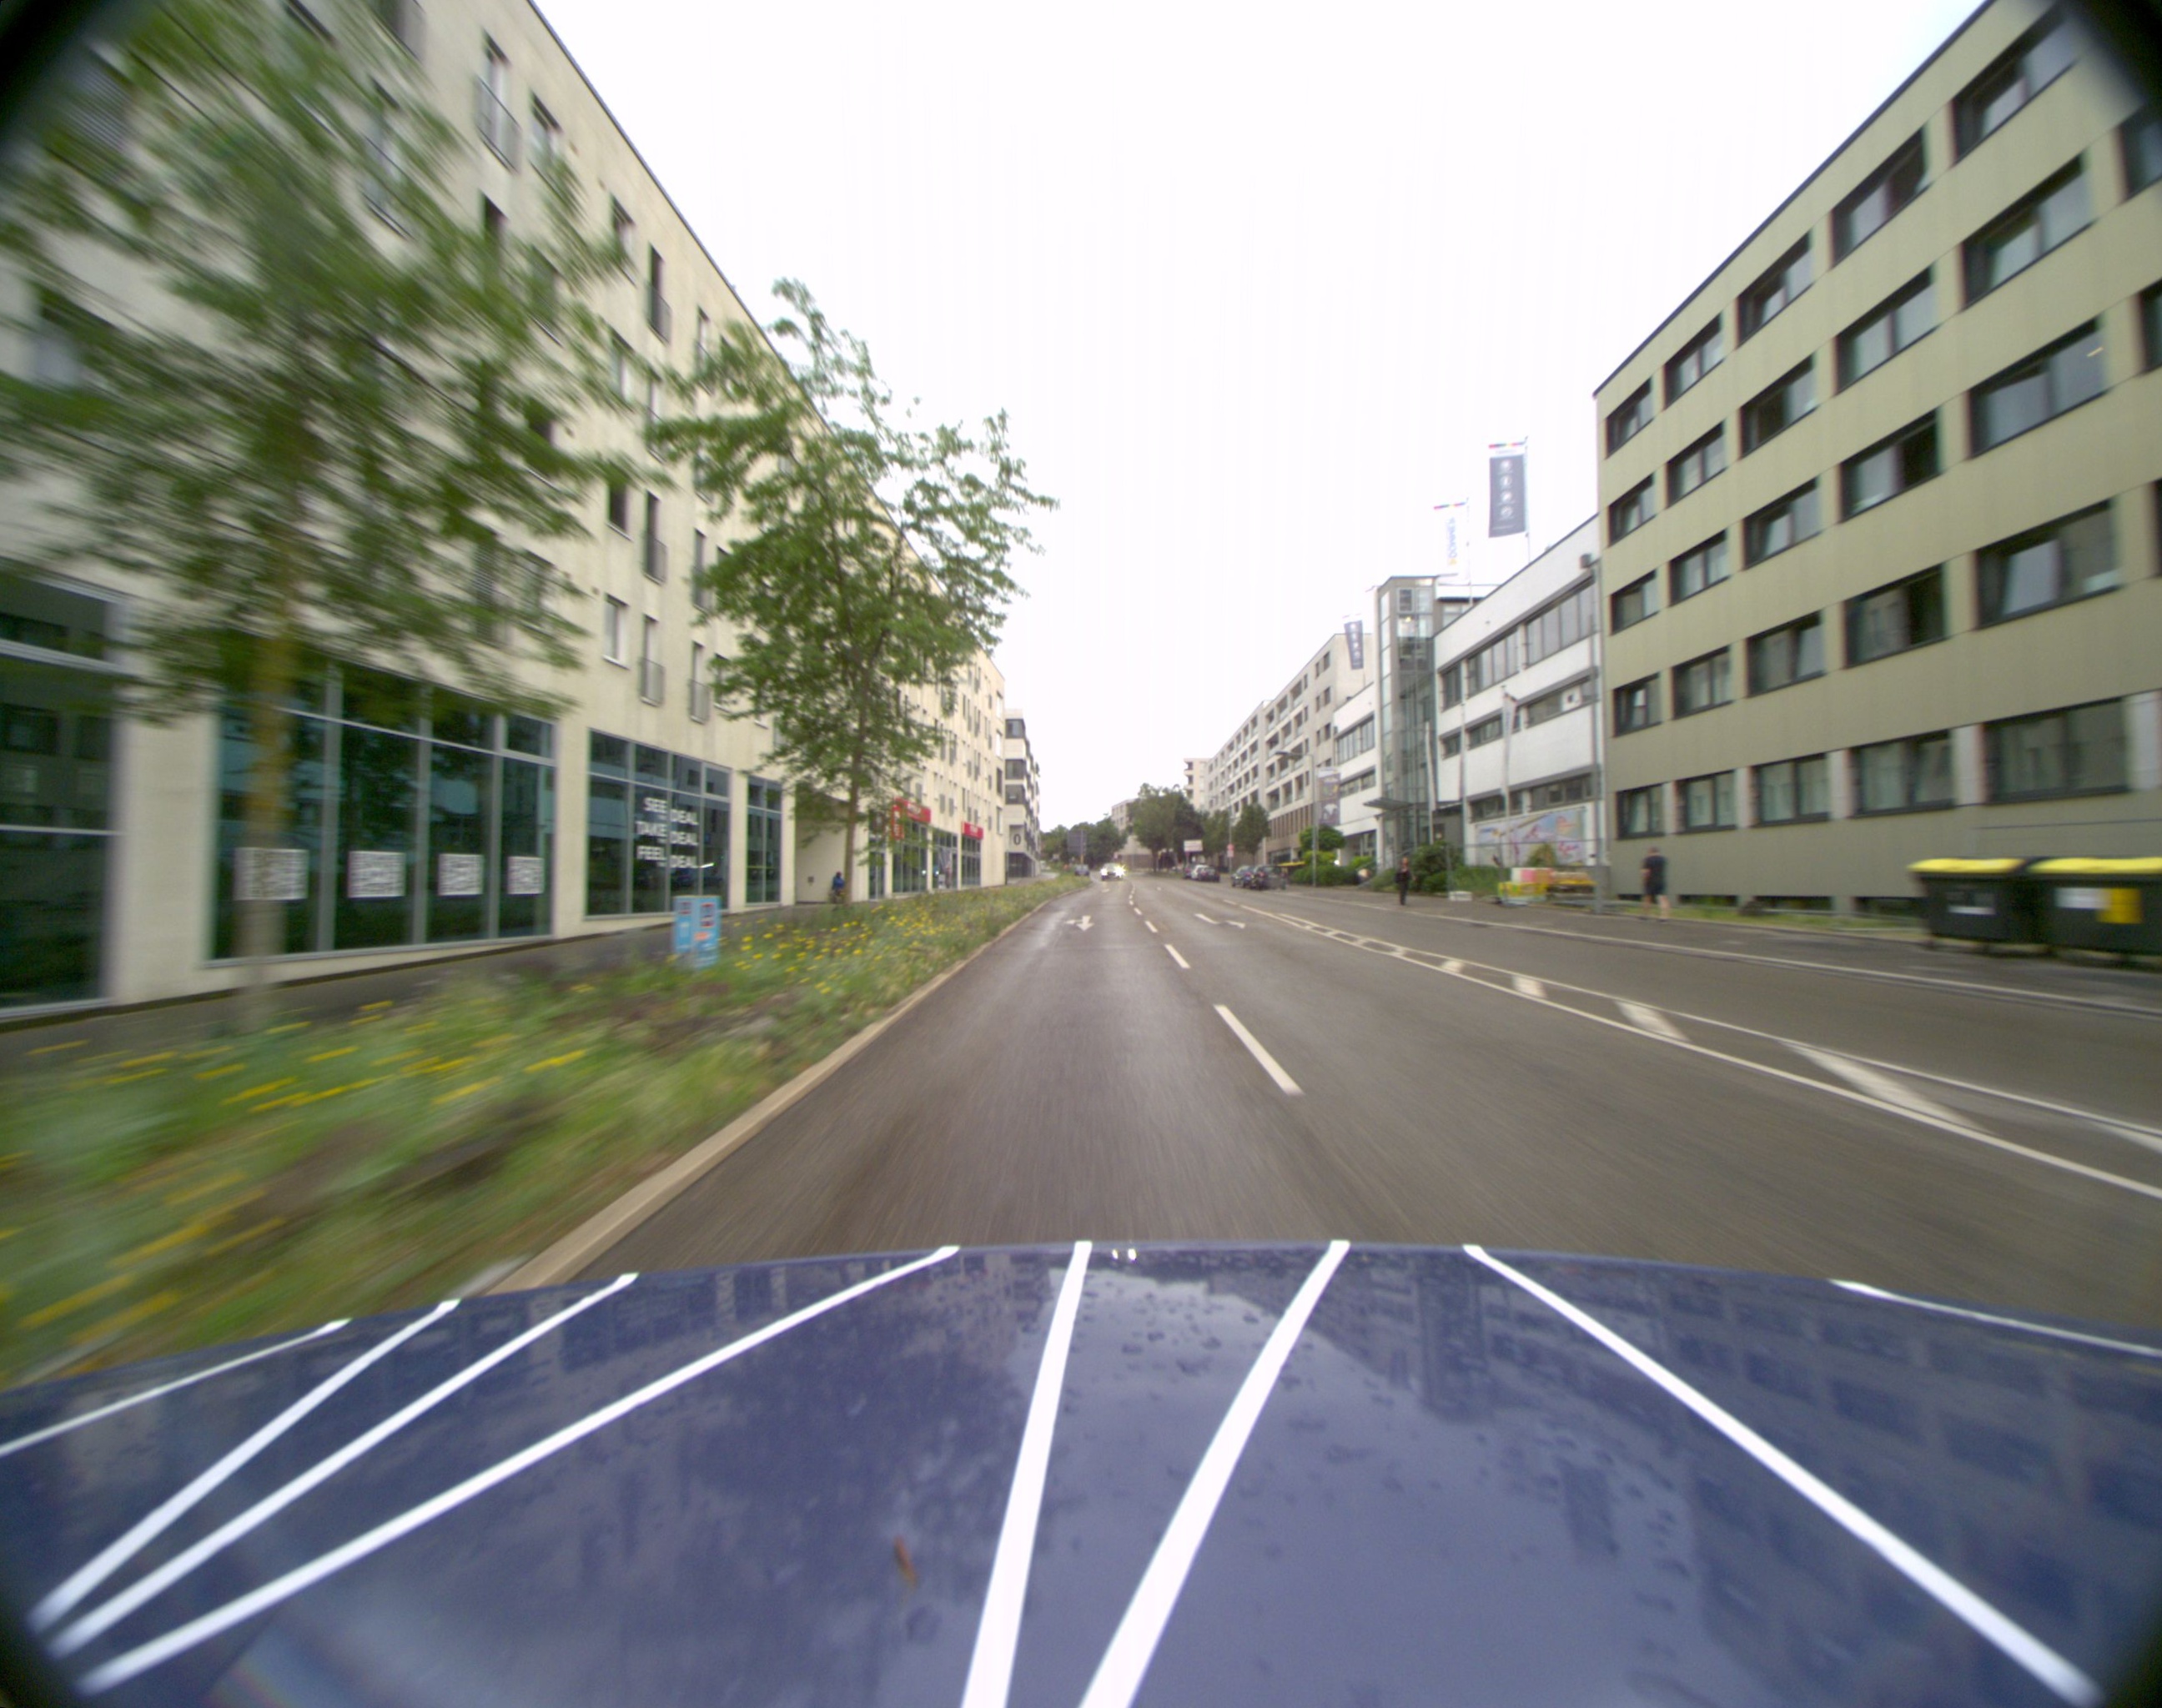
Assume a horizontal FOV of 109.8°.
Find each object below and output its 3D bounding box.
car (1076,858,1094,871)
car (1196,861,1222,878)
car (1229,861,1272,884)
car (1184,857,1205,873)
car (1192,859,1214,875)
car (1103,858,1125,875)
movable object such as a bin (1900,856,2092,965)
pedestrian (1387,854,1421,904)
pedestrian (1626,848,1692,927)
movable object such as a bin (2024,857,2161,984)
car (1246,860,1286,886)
[{"bbox_3d":[0.509,1.278,95.699,1.998,1.477,4.001,-2,0,4],"label":"car"},{"bbox_3d":[11.711,1.387,69.622,1.662,1.383,3.739,2,0,0],"label":"car"},{"bbox_3d":[11.108,1.205,50.064,1.660,1.395,4.269,1,0,-3],"label":"car"},{"bbox_3d":[11.804,1.134,79.368,1.630,1.608,3.973,2,0,2],"label":"car"},{"bbox_3d":[11.902,1.248,74.241,1.597,1.459,3.422,3,0,1],"label":"car"},{"bbox_3d":[3.249,1.238,74.868,1.998,1.565,4.001,-2,0,4],"label":"car"},{"bbox_3d":[13.341,0.779,11.150,1.056,1.437,1.430,-3,0,3],"label":"movable object such as a bin"},{"bbox_3d":[11.231,0.856,26.447,0.769,1.666,0.969,-2,0,3],"label":"pedestrian"},{"bbox_3d":[13.034,0.732,17.149,0.757,1.722,0.942,-2,0,5],"label":"pedestrian"},{"bbox_3d":[13.279,0.783,9.573,1.056,1.437,1.358,-3,0,3],"label":"movable object such as a bin"},{"bbox_3d":[11.193,1.136,46.016,1.518,1.501,2.981,2,0,-3],"label":"car"}]
